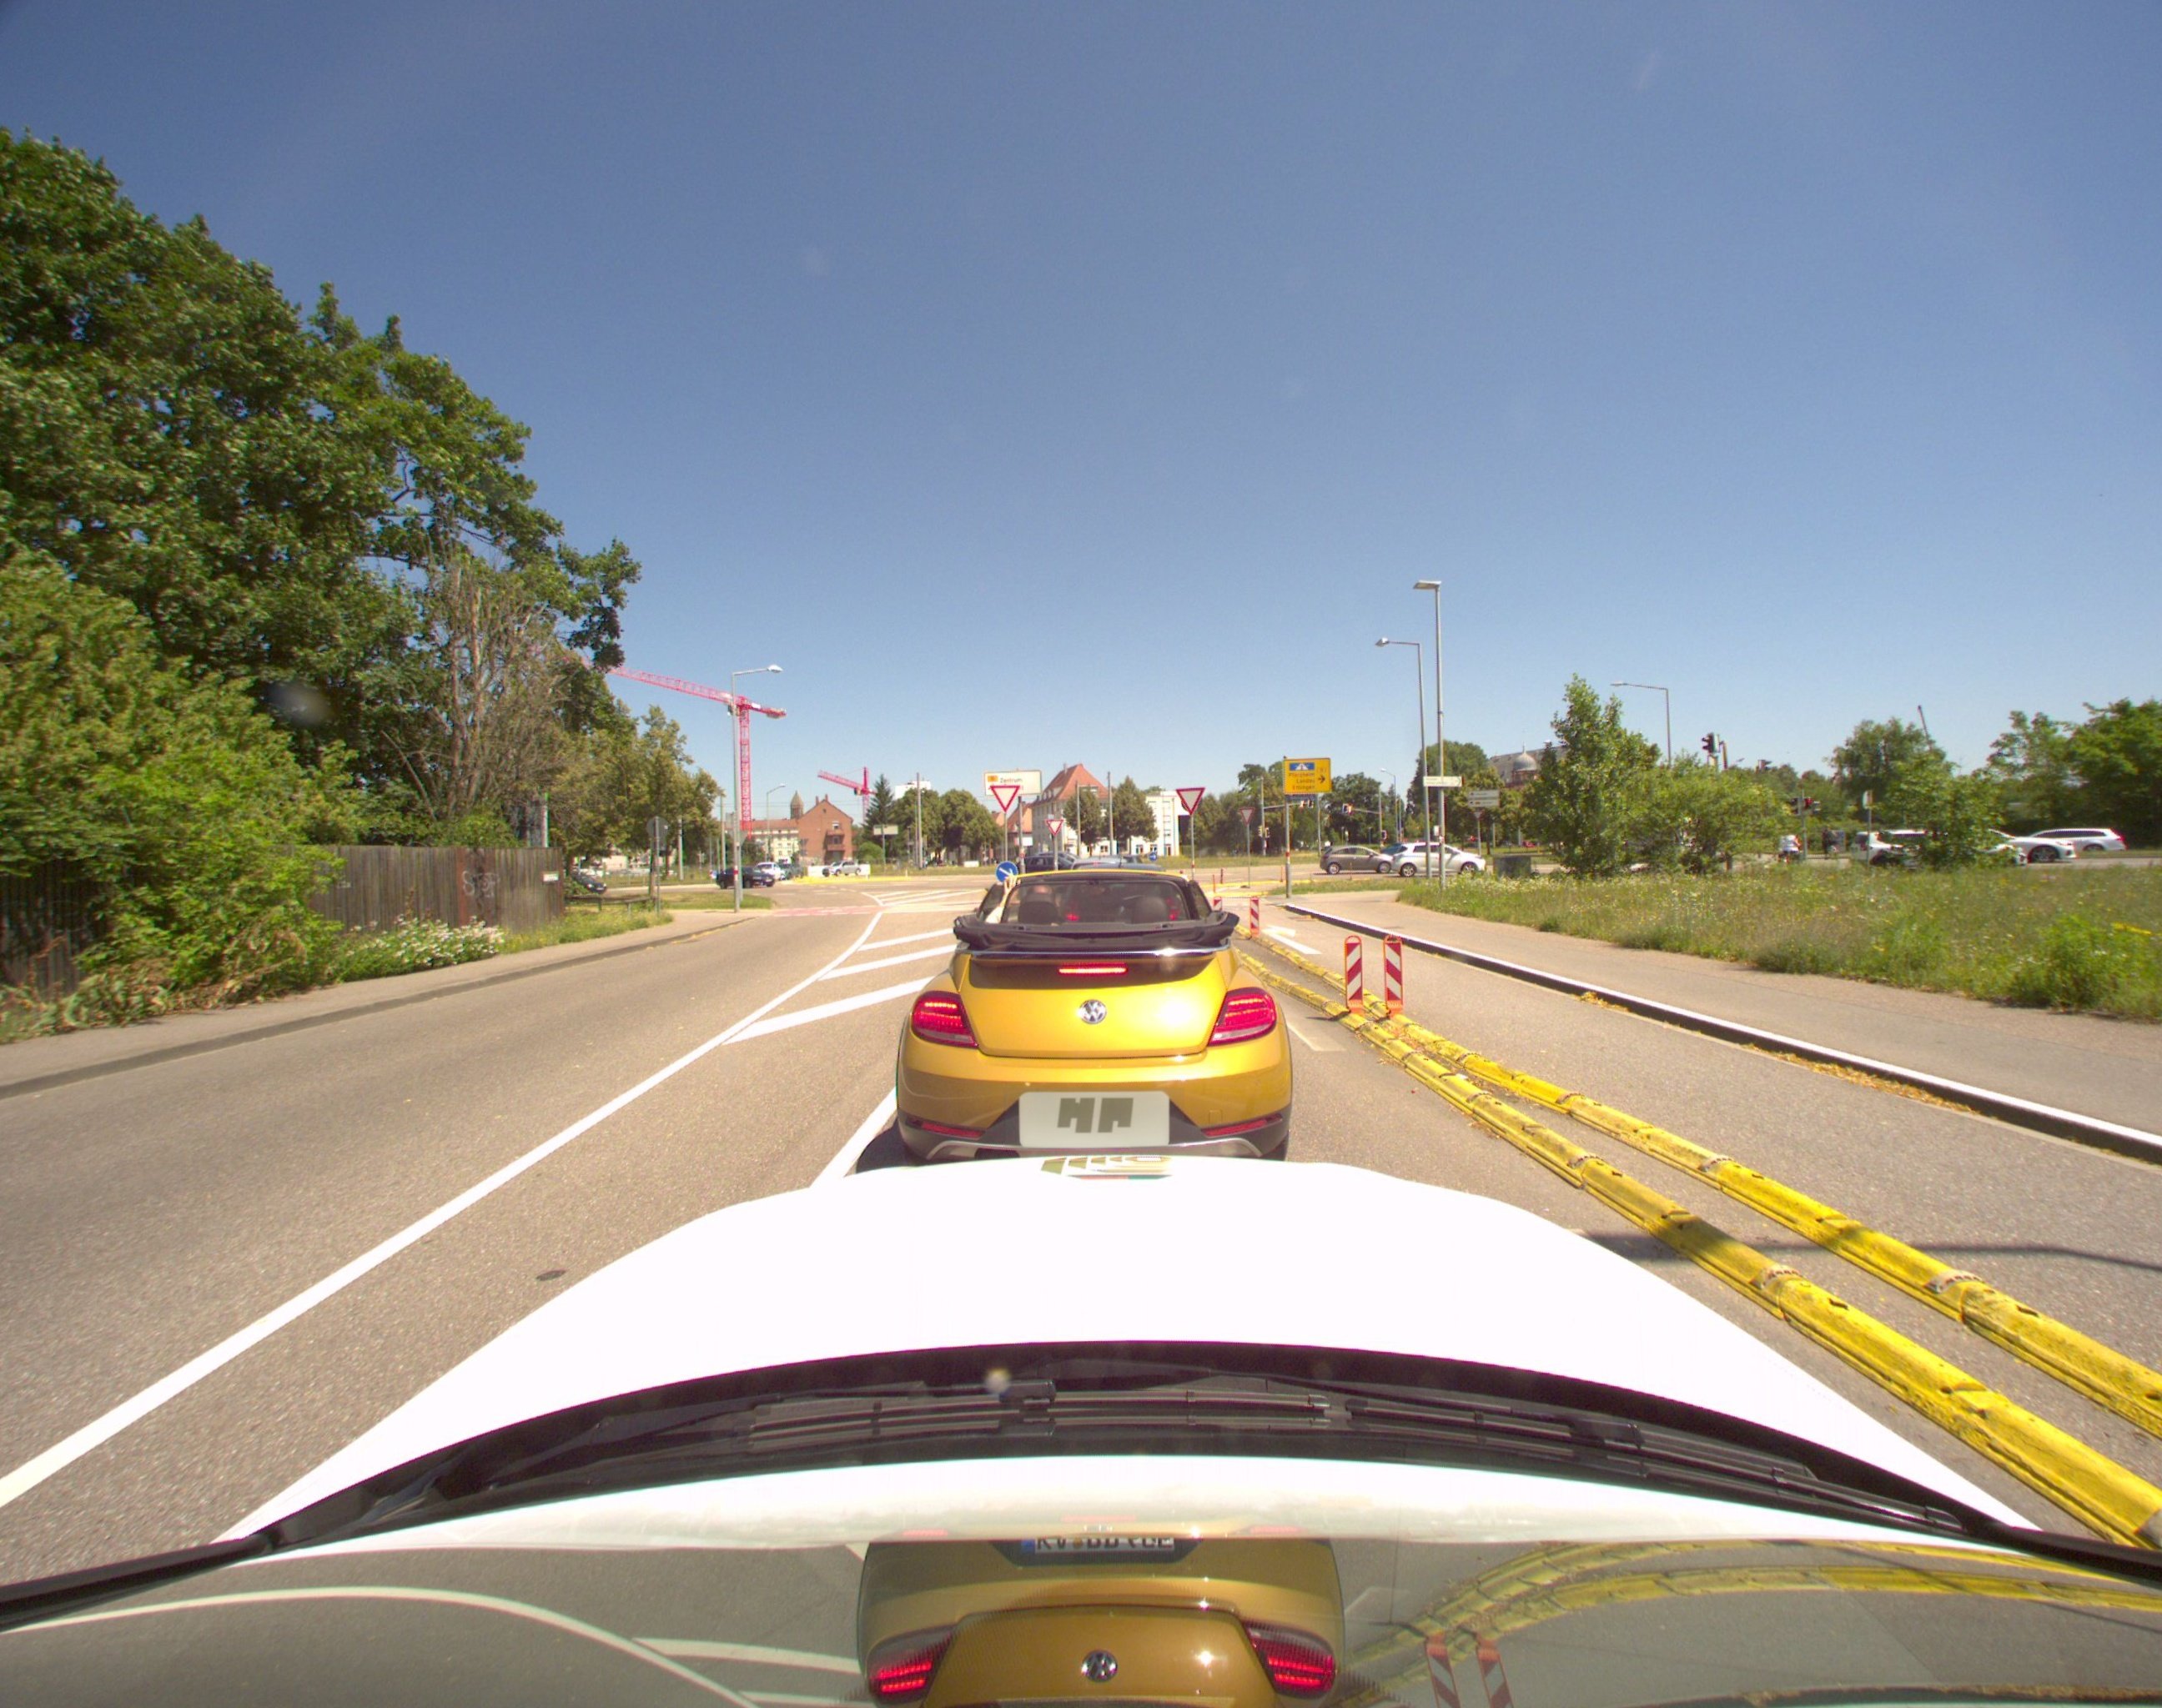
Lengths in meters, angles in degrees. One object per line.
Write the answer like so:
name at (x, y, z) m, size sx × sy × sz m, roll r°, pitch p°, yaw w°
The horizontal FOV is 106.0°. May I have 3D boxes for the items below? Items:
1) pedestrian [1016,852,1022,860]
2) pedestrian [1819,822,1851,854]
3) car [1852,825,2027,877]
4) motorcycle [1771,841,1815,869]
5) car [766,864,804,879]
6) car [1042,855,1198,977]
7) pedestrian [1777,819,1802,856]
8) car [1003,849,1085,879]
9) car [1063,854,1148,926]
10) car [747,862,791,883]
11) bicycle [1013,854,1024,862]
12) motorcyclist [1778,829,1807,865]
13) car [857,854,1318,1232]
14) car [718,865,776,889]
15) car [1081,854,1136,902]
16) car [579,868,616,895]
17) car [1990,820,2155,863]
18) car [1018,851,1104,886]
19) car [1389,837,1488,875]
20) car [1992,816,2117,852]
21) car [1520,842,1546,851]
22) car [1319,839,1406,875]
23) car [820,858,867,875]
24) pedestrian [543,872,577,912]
pedestrian at (-8.883, 0.299, 116.311) m, size 0.677 × 1.230 × 0.496 m, roll -1°, pitch -1°, yaw -17°
pedestrian at (37.726, -0.784, 40.749) m, size 0.789 × 1.563 × 0.823 m, roll -1°, pitch 0°, yaw 3°
car at (31.867, -0.077, 30.449) m, size 4.208 × 1.816 × 2.013 m, roll -1°, pitch 0°, yaw 37°
motorcycle at (25.797, 0.029, 29.508) m, size 1.712 × 0.970 × 0.625 m, roll -1°, pitch 0°, yaw -28°
car at (-25.182, 1.474, 69.411) m, size 1.700 × 1.236 × 3.788 m, roll -1°, pitch 0°, yaw 2°
car at (0.535, 0.754, 11.787) m, size 1.841 × 1.442 × 4.002 m, roll -1°, pitch 0°, yaw 2°
pedestrian at (36.710, -0.831, 42.212) m, size 0.647 × 1.870 × 0.737 m, roll -1°, pitch -1°, yaw 3°
car at (-1.936, 0.540, 43.187) m, size 3.961 × 1.496 × 1.806 m, roll -1°, pitch 0°, yaw 11°
car at (0.576, 0.746, 18.805) m, size 1.730 × 1.442 × 4.002 m, roll -1°, pitch 0°, yaw 2°
car at (-24.574, 1.424, 64.242) m, size 1.749 × 1.549 × 4.002 m, roll -1°, pitch 0°, yaw 2°
bicycle at (-8.897, 0.608, 116.302) m, size 1.469 × 1.071 × 0.496 m, roll -1°, pitch 0°, yaw -17°
motorcyclist at (25.817, -0.259, 29.554) m, size 0.616 × 1.289 × 0.576 m, roll -1°, pitch -1°, yaw -27°
car at (0.075, 0.731, 5.014) m, size 1.746 × 1.422 × 3.778 m, roll -1°, pitch 0°, yaw 1°
car at (-22.166, 1.518, 53.996) m, size 4.475 × 1.447 × 1.834 m, roll -1°, pitch 0°, yaw 42°
car at (0.933, 0.754, 27.604) m, size 1.730 × 1.477 × 4.002 m, roll -1°, pitch 0°, yaw 2°
car at (-34.343, 1.929, 57.786) m, size 2.008 × 1.816 × 3.958 m, roll -1°, pitch 0°, yaw -34°
car at (39.310, -0.451, 32.464) m, size 3.950 × 1.585 × 1.851 m, roll -1°, pitch 0°, yaw 44°
car at (-0.950, 0.692, 39.952) m, size 3.976 × 1.620 × 1.741 m, roll -1°, pitch 0°, yaw 8°
car at (16.271, 0.095, 37.231) m, size 3.967 × 1.620 × 1.688 m, roll -1°, pitch 0°, yaw 17°
car at (50.170, -0.997, 42.115) m, size 3.950 × 1.728 × 1.748 m, roll -1°, pitch 0°, yaw 44°
car at (84.787, -1.438, 152.857) m, size 3.996 × 1.714 × 1.989 m, roll -1°, pitch 0°, yaw -17°
car at (14.464, 0.167, 42.063) m, size 3.960 × 1.496 × 1.653 m, roll -5°, pitch -1°, yaw 12°
car at (-22.916, 1.211, 78.825) m, size 1.690 × 1.500 × 4.247 m, roll -1°, pitch 0°, yaw 34°
pedestrian at (-21.328, 1.540, 33.327) m, size 0.866 × 1.563 × 0.815 m, roll -1°, pitch -1°, yaw 24°
